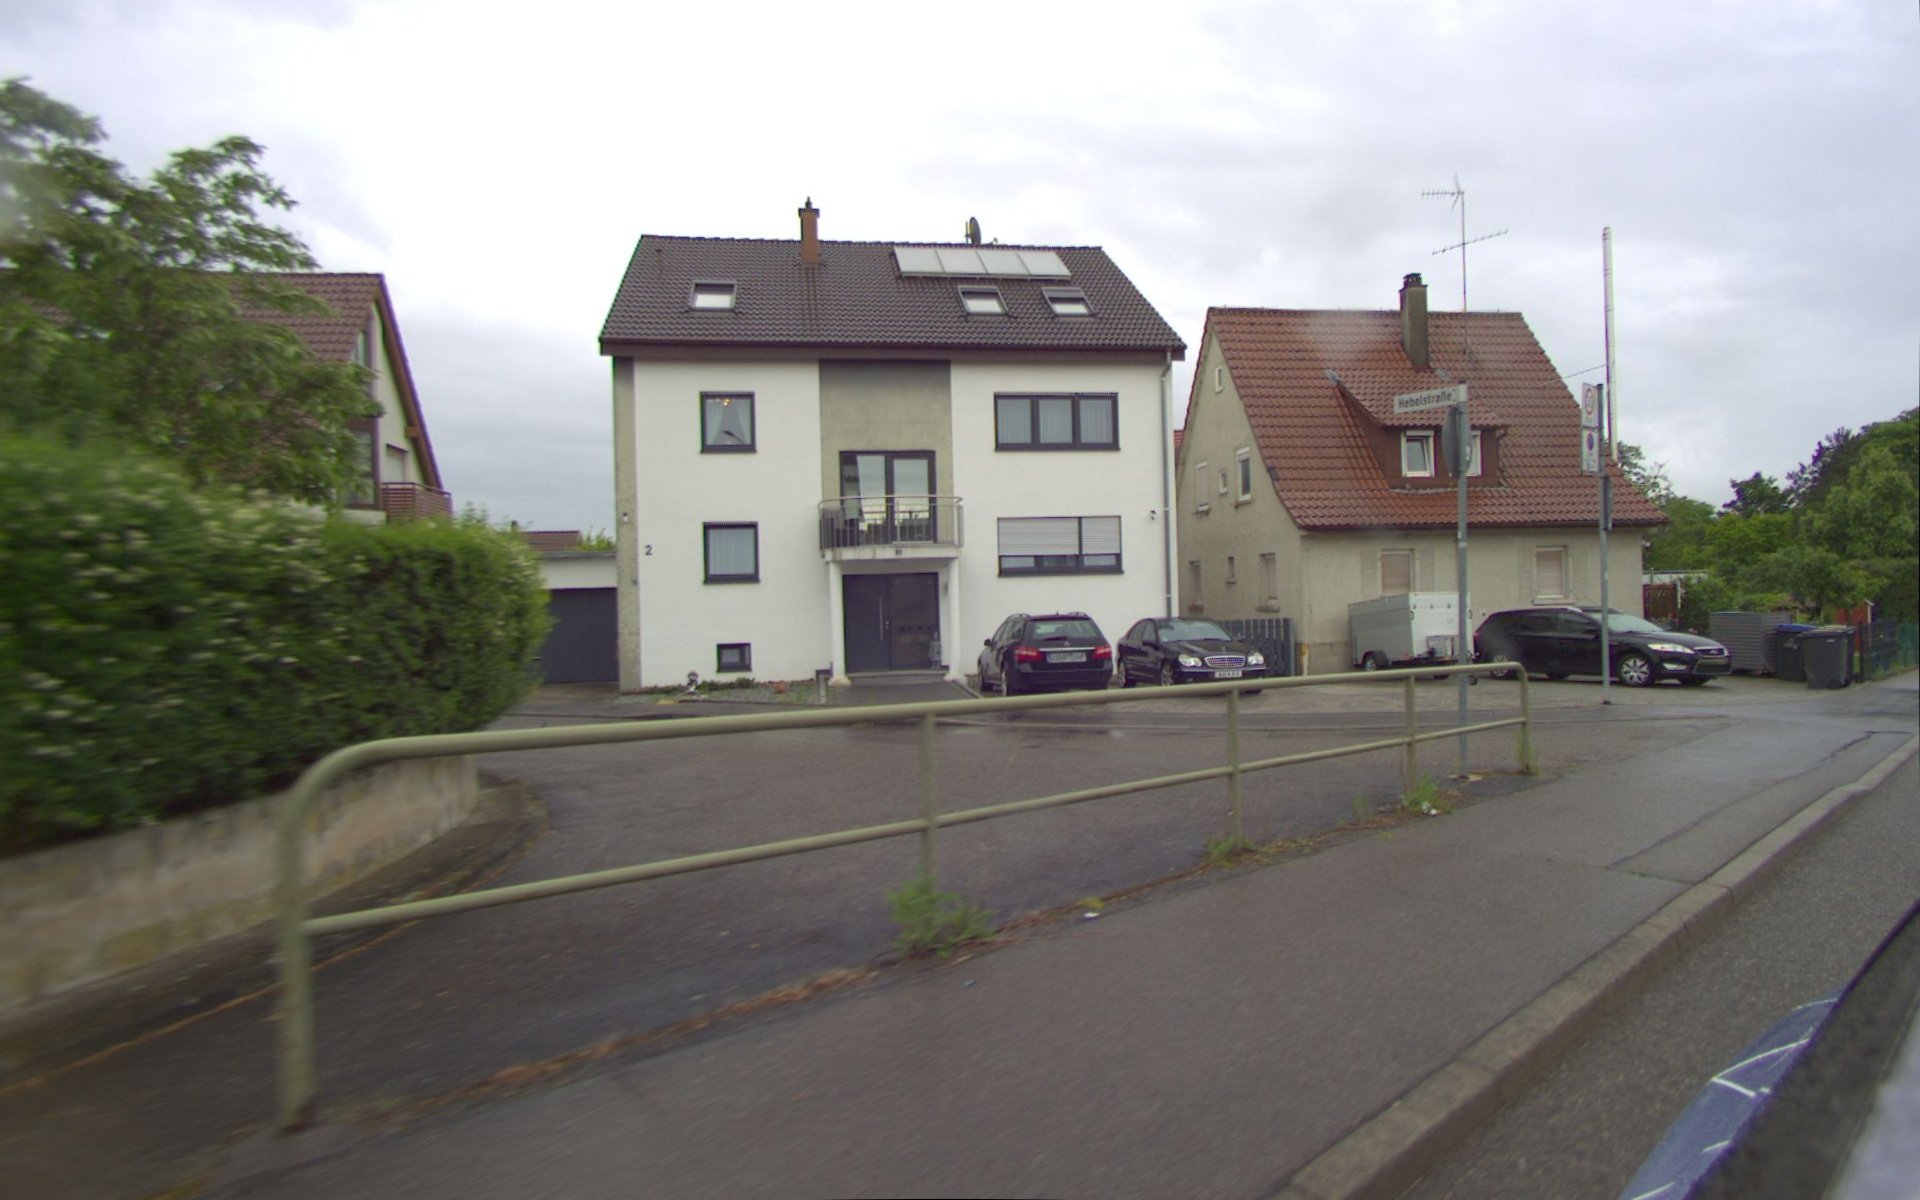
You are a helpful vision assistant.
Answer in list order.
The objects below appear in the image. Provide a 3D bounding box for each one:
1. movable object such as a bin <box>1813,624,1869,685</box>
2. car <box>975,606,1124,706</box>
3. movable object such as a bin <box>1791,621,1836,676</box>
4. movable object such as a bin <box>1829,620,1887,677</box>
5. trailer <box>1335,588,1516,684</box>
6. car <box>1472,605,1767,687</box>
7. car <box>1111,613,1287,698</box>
[{"bbox_3d":[15.744,0.957,18.085,0.530,1.034,0.629,1,0,-36],"label":"movable object such as a bin"},{"bbox_3d":[1.498,0.928,18.435,1.835,1.482,4.004,-4,0,-7],"label":"car"},{"bbox_3d":[16.382,0.926,19.420,0.513,1.034,0.445,1,0,-20],"label":"movable object such as a bin"},{"bbox_3d":[16.818,0.901,18.952,0.718,1.034,0.532,1,0,-22],"label":"movable object such as a bin"},{"bbox_3d":[9.644,0.704,21.256,1.653,1.821,3.469,-1,-1,-13],"label":"trailer"},{"bbox_3d":[12.667,0.864,19.862,1.958,1.402,4.580,1,-2,-20],"label":"car"},{"bbox_3d":[4.250,0.931,18.788,1.749,1.340,4.405,-1,-1,-7],"label":"car"}]
